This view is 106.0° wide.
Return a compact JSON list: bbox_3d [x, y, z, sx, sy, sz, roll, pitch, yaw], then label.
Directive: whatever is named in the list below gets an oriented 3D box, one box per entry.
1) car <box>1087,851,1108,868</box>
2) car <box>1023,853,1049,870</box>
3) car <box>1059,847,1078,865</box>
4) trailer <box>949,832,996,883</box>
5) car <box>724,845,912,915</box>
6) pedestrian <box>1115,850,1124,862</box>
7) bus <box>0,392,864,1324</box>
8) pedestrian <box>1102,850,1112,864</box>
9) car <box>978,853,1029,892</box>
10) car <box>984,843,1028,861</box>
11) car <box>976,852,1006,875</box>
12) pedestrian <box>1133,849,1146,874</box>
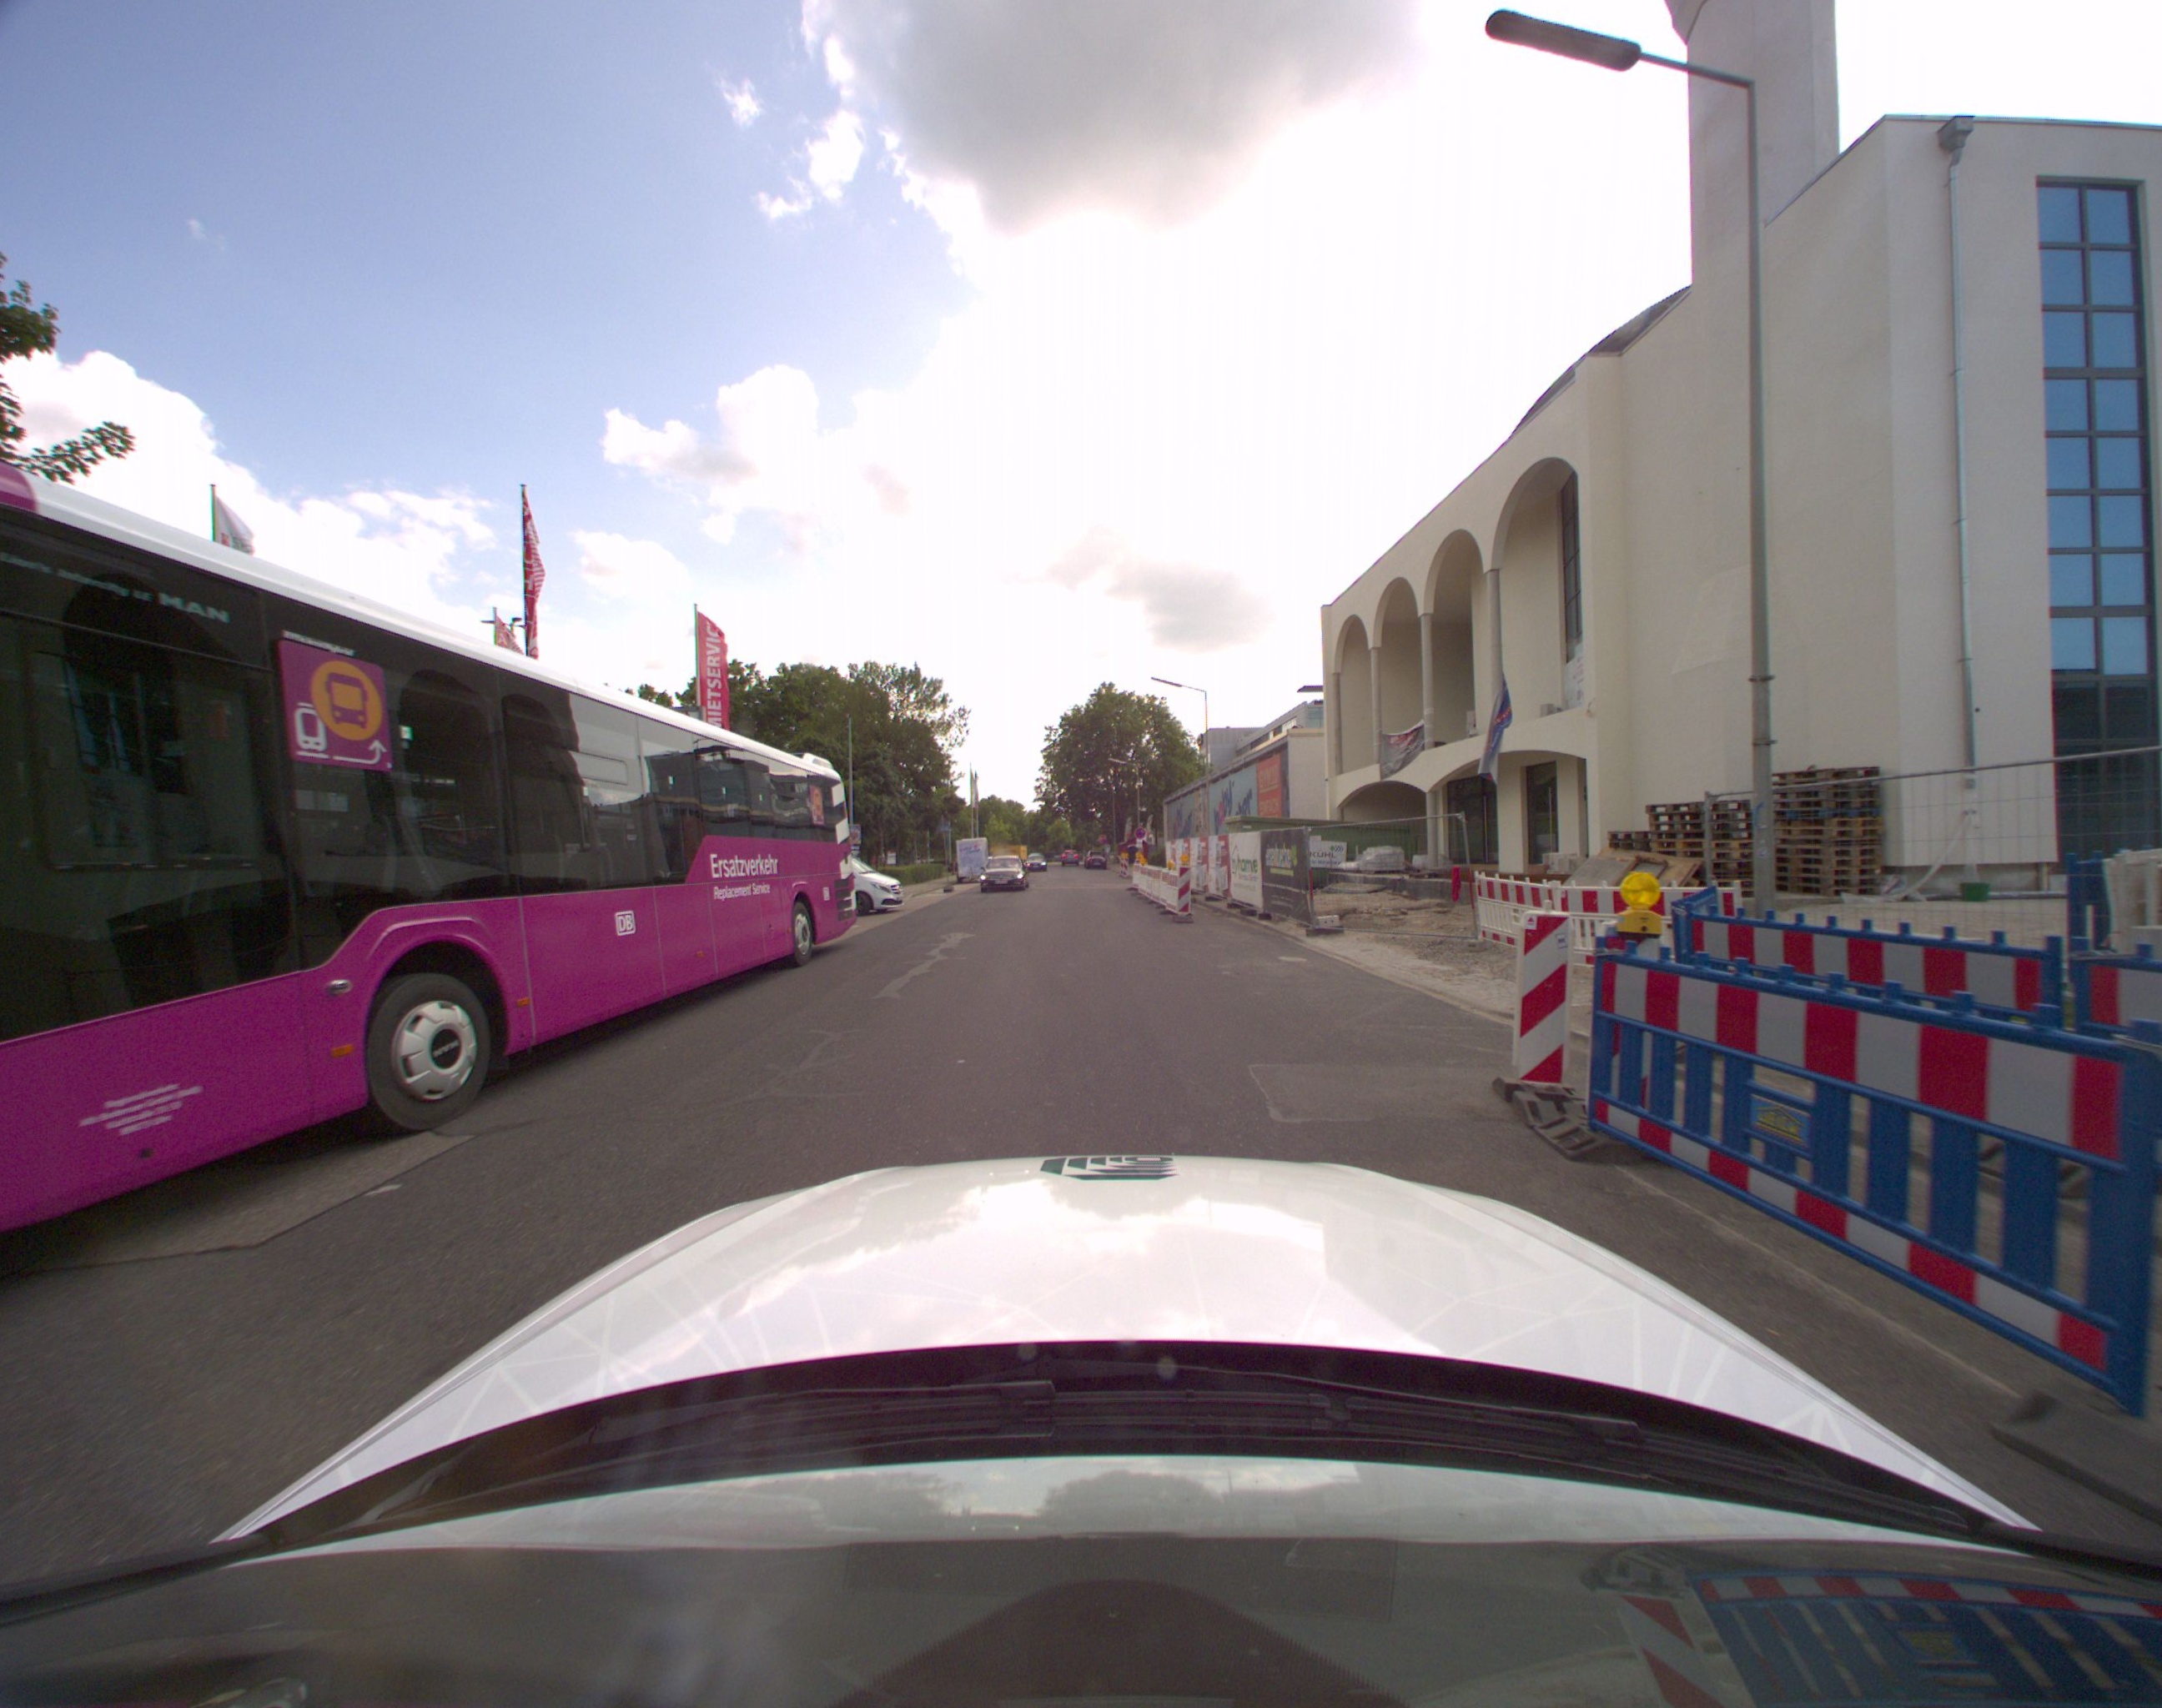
[{"bbox_3d":[1.482,0.488,74.282,1.802,1.391,4.587,1,0,0],"label":"car"},{"bbox_3d":[-3.732,0.600,68.472,1.917,1.377,4.378,-1,0,-1],"label":"car"},{"bbox_3d":[-1.393,0.196,89.650,1.958,1.815,4.271,-1,0,-3],"label":"car"},{"bbox_3d":[-6.391,0.186,48.431,2.134,2.783,4.700,-3,0,-2],"label":"trailer"},{"bbox_3d":[-7.873,0.762,24.683,4.978,1.949,1.994,-1,0,4],"label":"car"},{"bbox_3d":[4.491,0.252,95.534,1.008,1.314,0.966,-1,0,6],"label":"pedestrian"},{"bbox_3d":[-5.407,0.037,8.691,2.656,3.422,13.211,-5,0,-1],"label":"bus"},{"bbox_3d":[3.397,0.397,107.096,1.004,1.849,1.221,-1,0,-19],"label":"pedestrian"},{"bbox_3d":[-3.242,0.722,34.876,1.791,1.459,4.382,-3,1,-1],"label":"car"},{"bbox_3d":[-11.376,-0.334,123.596,6.330,2.578,2.217,-1,1,19],"label":"car"},{"bbox_3d":[-6.447,0.668,58.955,1.761,1.479,4.231,-4,1,-2],"label":"car"},{"bbox_3d":[3.697,0.455,51.622,0.679,1.534,1.129,-1,0,-2],"label":"pedestrian"}]
